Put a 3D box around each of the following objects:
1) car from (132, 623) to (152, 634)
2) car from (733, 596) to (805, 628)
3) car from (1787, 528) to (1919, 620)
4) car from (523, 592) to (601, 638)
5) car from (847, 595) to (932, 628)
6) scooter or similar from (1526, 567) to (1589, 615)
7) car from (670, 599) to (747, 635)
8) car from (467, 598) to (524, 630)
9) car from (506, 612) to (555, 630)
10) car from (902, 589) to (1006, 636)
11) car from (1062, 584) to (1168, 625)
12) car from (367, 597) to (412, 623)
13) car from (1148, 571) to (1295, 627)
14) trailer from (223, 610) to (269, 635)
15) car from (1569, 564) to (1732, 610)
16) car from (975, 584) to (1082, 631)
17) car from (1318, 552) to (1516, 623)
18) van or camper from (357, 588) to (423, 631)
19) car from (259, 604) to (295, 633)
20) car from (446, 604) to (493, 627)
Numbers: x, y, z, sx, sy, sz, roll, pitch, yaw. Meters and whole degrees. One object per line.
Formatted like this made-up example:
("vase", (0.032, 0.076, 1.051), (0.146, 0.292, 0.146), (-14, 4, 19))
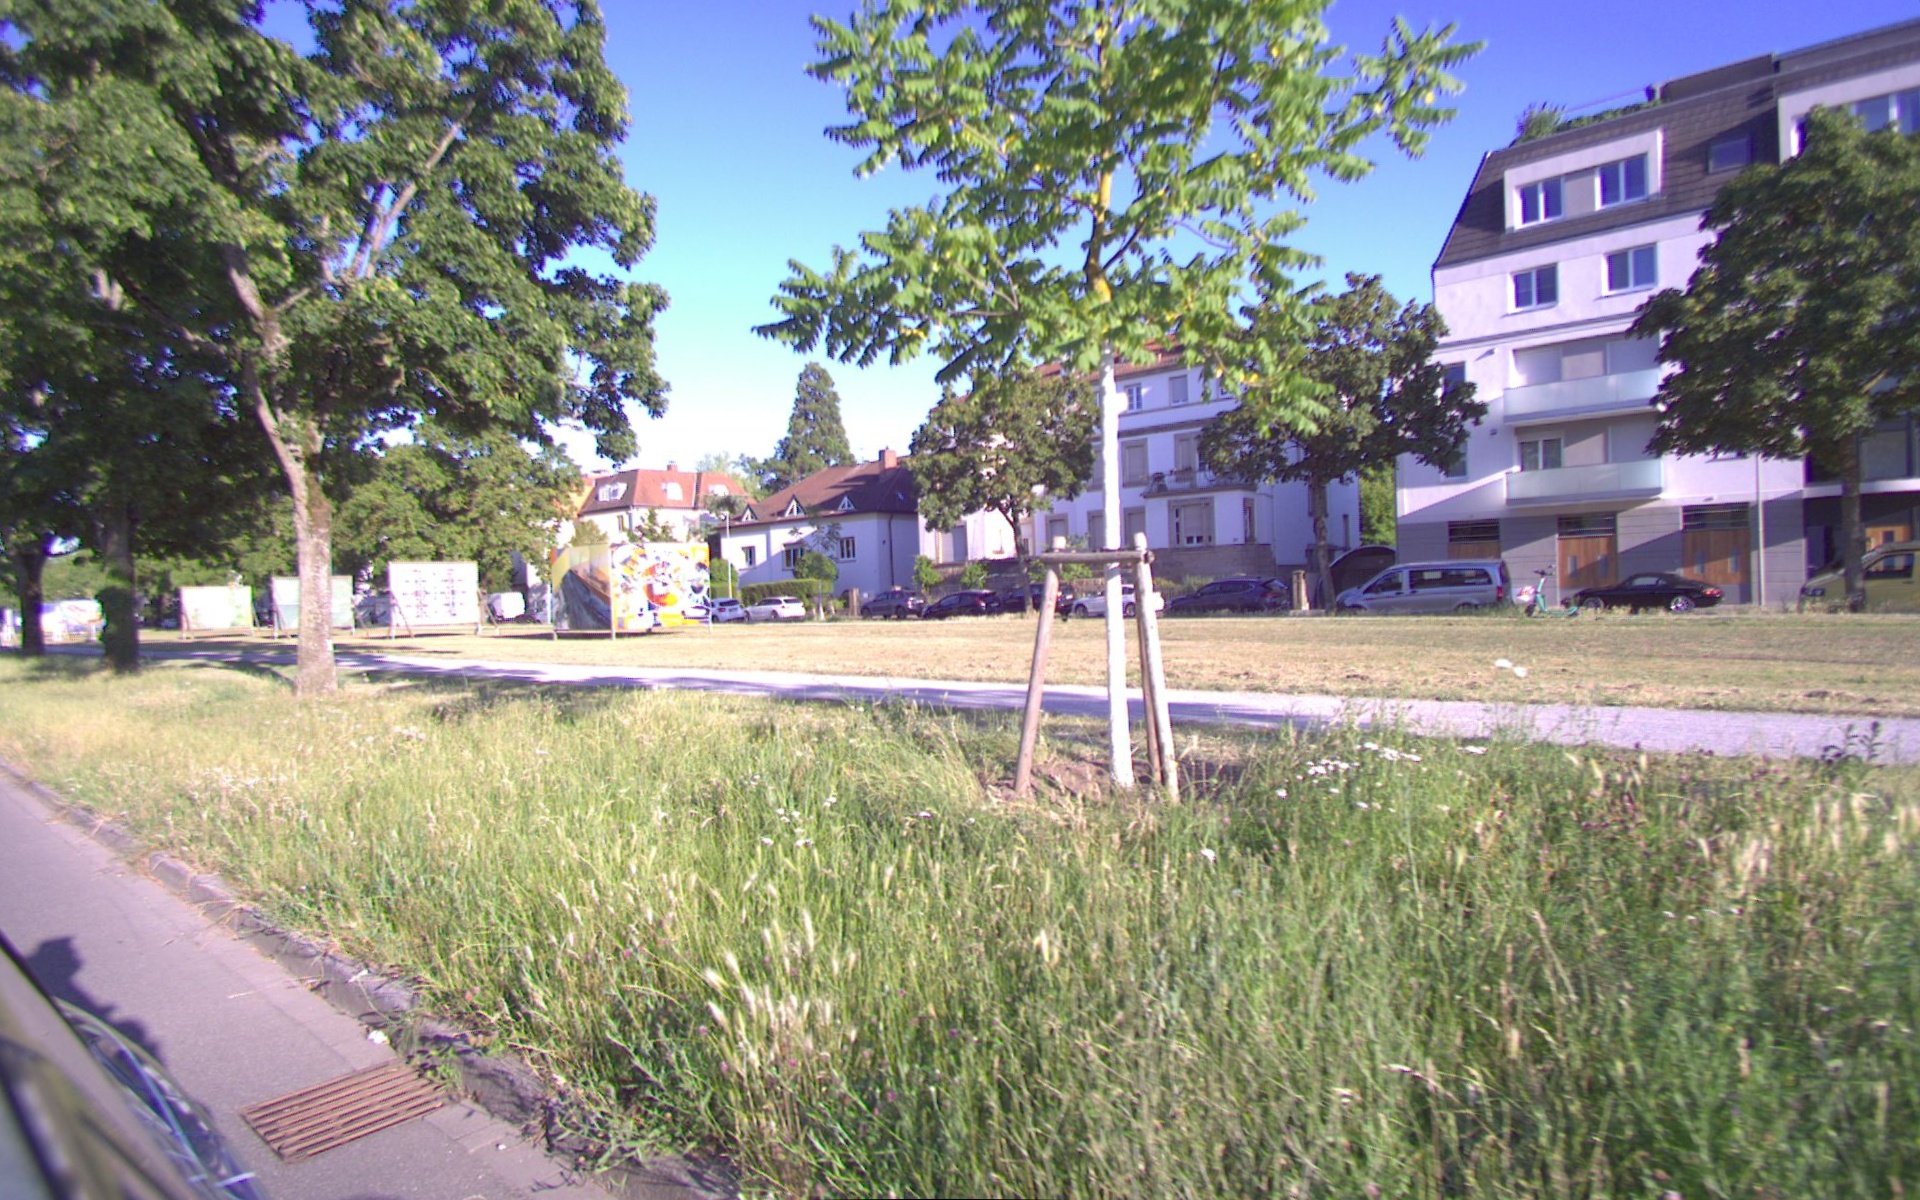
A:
("car", (-117.010, 4.103, 144.748), (1.868, 1.534, 3.683), (-2, -1, -44))
("car", (-11.589, 0.730, 61.317), (4.711, 1.868, 1.712), (-1, -2, 41))
("car", (22.741, -0.572, 23.794), (5.050, 2.073, 1.973), (-1, -2, 41))
("car", (-25.910, 0.983, 65.853), (5.868, 2.847, 2.237), (-1, -2, 41))
("car", (-3.842, 0.632, 54.577), (4.664, 1.715, 1.763), (-1, -2, 41))
("scooter or similar", (14.805, -0.218, 25.081), (1.293, 1.135, 0.389), (-2, 1, 33))
("car", (-13.908, 0.949, 55.845), (4.641, 1.914, 1.814), (-1, -2, 42))
("car", (-39.509, 1.186, 85.993), (6.086, 2.617, 1.973), (-1, -2, 41))
("car", (-34.522, 1.679, 81.306), (4.563, 1.413, 1.971), (-1, -3, 45))
("car", (-0.287, 0.577, 43.831), (4.325, 1.931, 1.870), (-1, -2, 41))
("car", (6.940, 0.239, 45.468), (4.458, 1.757, 1.802), (-1, -2, 42))
("car", (-47.709, 0.843, 84.610), (3.998, 2.029, 1.973), (-2, 0, 41))
("car", (9.130, 0.006, 35.543), (4.689, 1.842, 1.908), (-1, -2, 41))
("trailer", (-78.325, 2.486, 110.989), (6.631, 2.679, 2.448), (-1, -2, 40))
("car", (22.102, -0.400, 32.473), (4.063, 1.287, 1.972), (-2, 1, 44))
("car", (3.270, 0.387, 48.807), (4.852, 2.147, 2.214), (-1, -2, 42))
("car", (14.183, -0.320, 31.588), (5.363, 2.016, 2.000), (-1, -2, 38))
("van or camper", (-47.709, 0.843, 84.610), (6.901, 3.287, 2.614), (-2, 0, 42))
("car", (-82.629, 2.304, 122.330), (6.071, 3.274, 1.973), (-3, -1, 41))
("car", (-35.936, 1.159, 74.132), (4.306, 1.576, 1.400), (-2, 1, 40))
